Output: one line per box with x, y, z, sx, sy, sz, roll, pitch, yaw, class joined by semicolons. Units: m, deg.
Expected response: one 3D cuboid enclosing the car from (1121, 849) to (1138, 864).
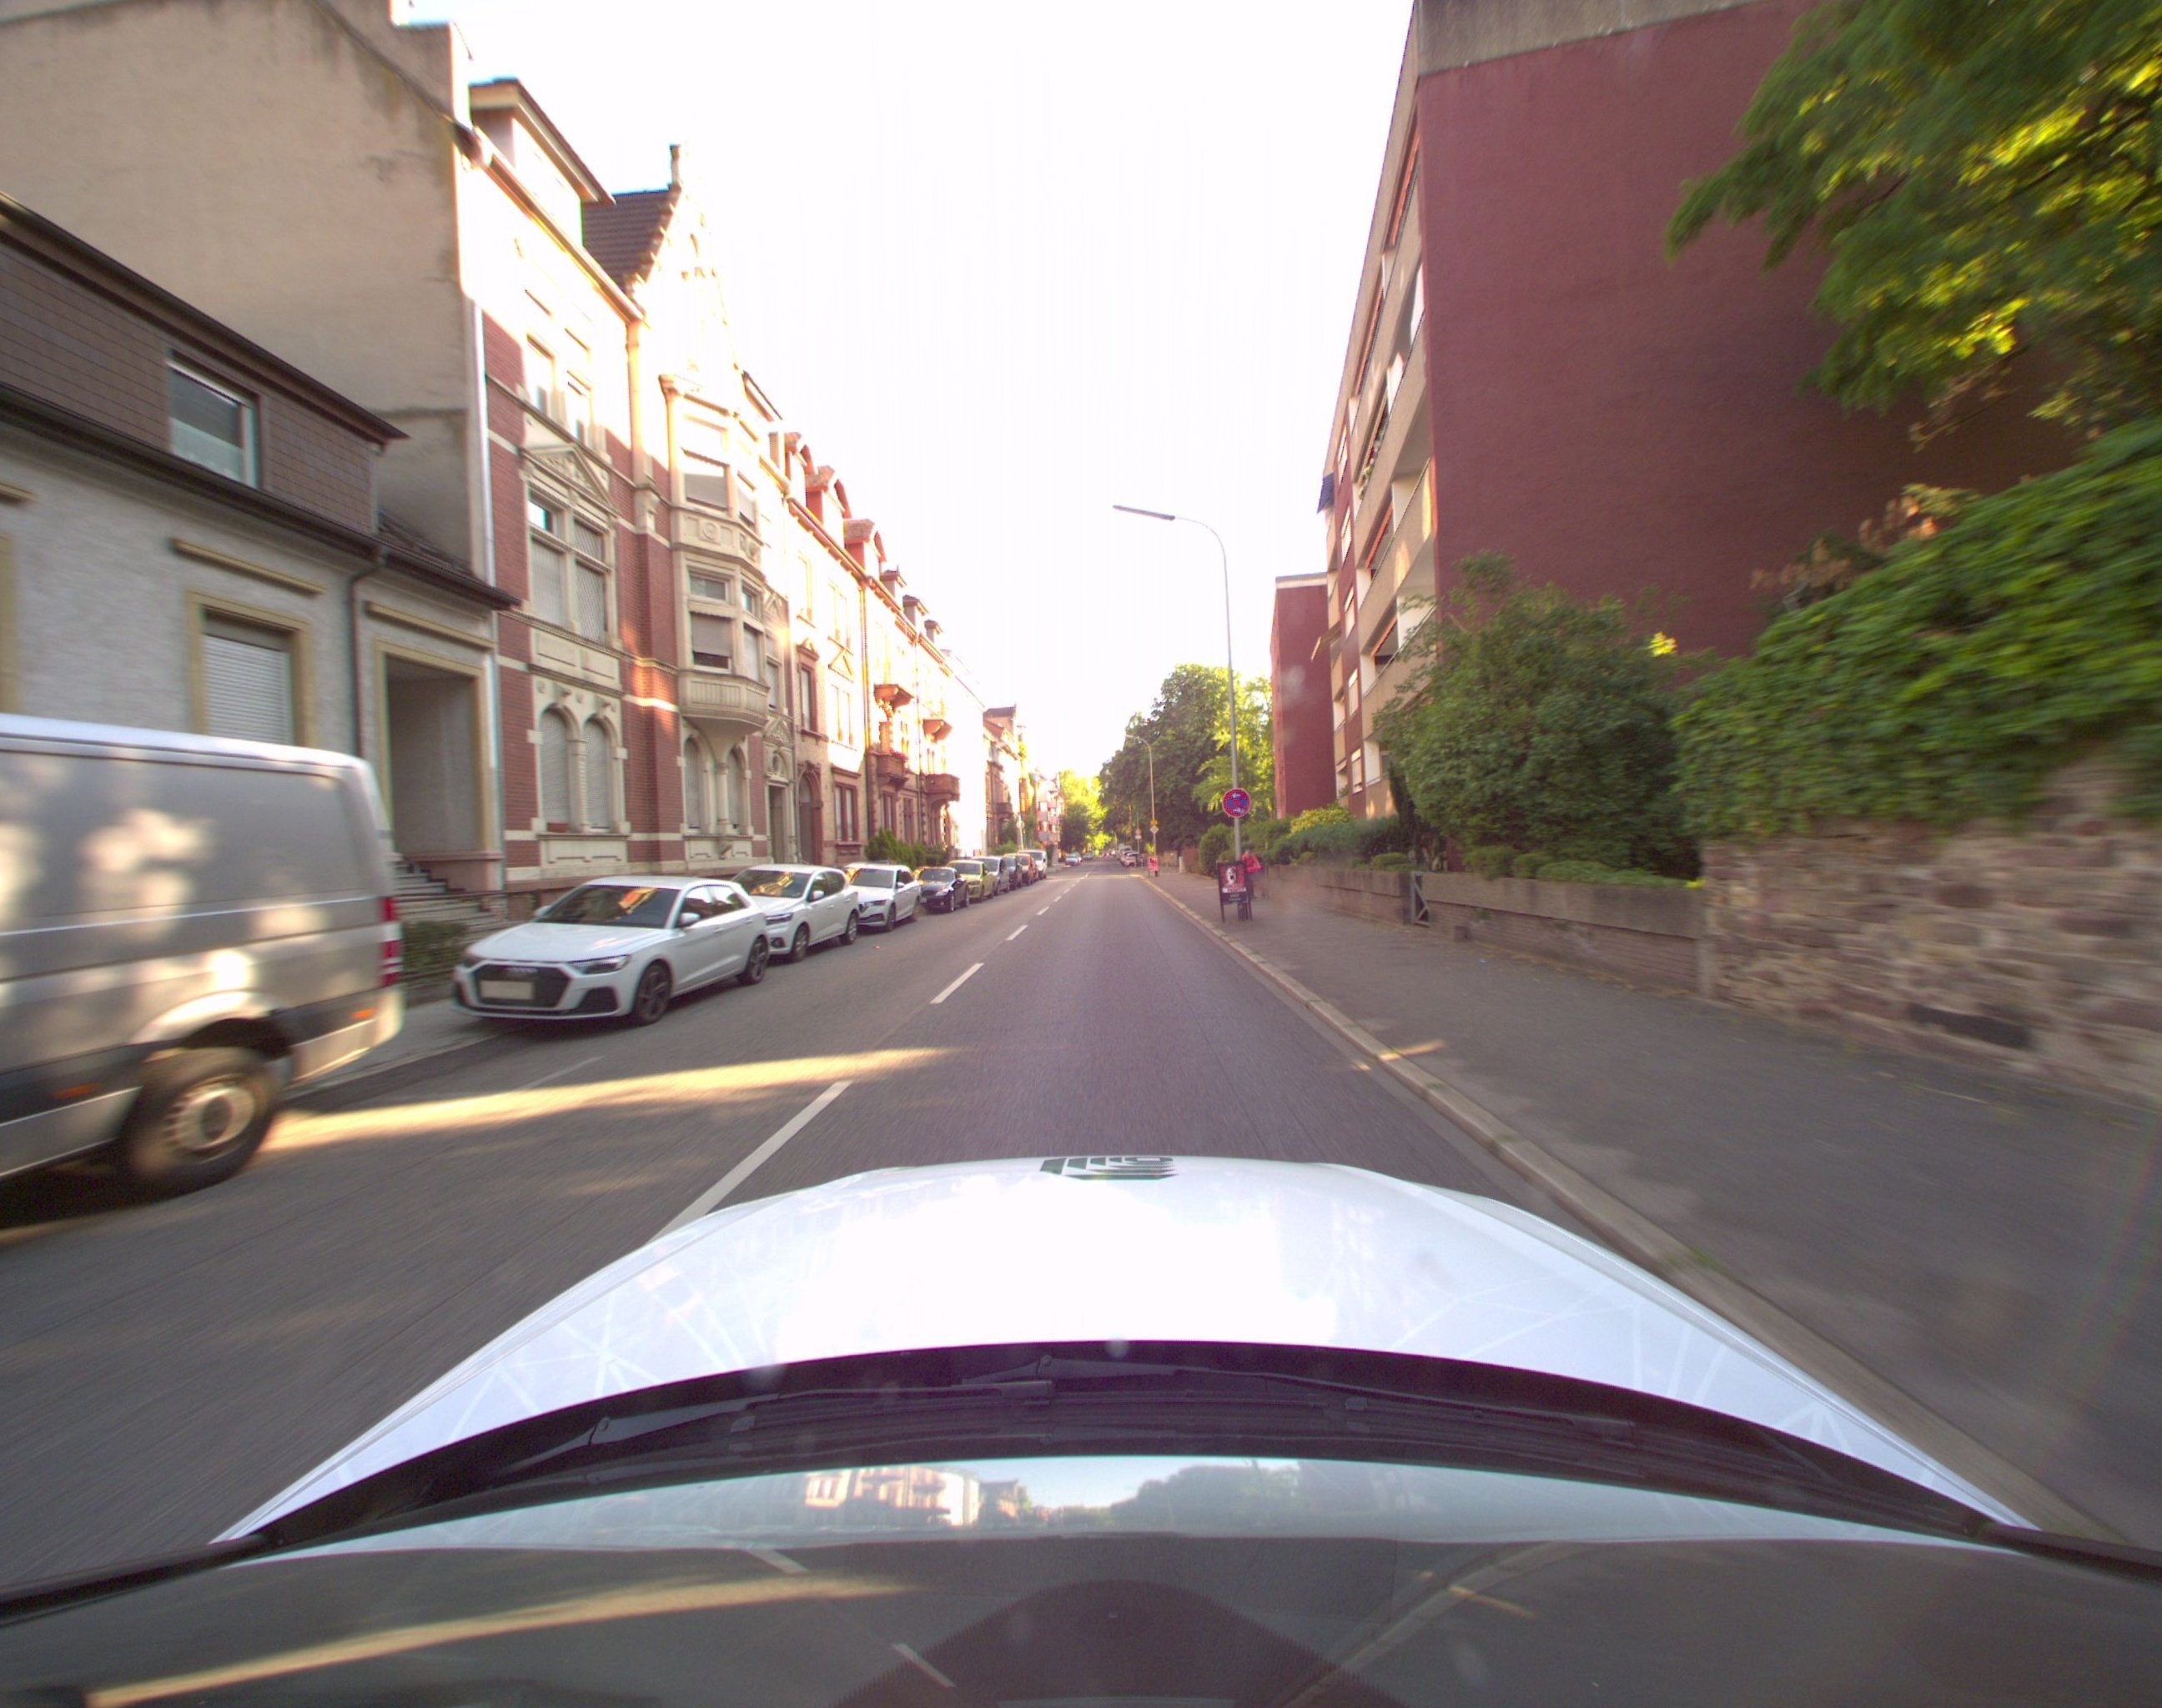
5.981;0.302;100.473;1.985;1.737;4.004;-3;1;3;car

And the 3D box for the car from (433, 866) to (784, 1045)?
-4.988;0.954;9.302;1.696;1.503;3.824;-1;0;1;car

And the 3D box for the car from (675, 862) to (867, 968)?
-5.250;0.953;14.424;1.696;1.503;4.023;-1;0;2;car

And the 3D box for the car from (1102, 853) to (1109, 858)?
7.589;0.452;248.896;1.986;1.491;4.473;-3;1;2;car

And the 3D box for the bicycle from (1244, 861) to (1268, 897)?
4.906;0.703;22.831;0.564;0.970;0.492;-1;1;0;bicycle

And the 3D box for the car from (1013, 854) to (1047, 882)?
-3.097;0.816;50.041;1.696;1.619;4.118;-1;0;1;car

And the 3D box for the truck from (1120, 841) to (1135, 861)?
7.088;-0.457;125.434;1.986;2.896;4.472;-3;1;2;truck

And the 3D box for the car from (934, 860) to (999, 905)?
-4.101;0.995;29.737;1.696;1.503;4.072;-1;-1;1;car

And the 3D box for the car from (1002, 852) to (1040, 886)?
-3.220;0.793;44.567;1.696;1.738;3.857;-1;0;1;car

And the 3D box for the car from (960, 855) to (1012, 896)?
-3.982;0.860;34.735;1.696;1.584;3.635;-1;0;1;car

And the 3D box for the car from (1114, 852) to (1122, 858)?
10.282;0.231;227.557;1.988;1.491;4.468;-3;1;-1;car

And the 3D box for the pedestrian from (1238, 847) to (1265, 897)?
4.899;0.498;23.415;0.596;1.403;0.668;-1;1;0;pedestrian

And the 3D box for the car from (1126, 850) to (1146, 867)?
5.682;0.422;84.273;1.985;1.517;4.004;-3;1;3;car

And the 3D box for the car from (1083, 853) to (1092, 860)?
1.457;0.557;183.369;1.986;1.491;4.473;-3;1;2;car

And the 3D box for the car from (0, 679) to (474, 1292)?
-5.399;0.548;2.679;2.060;2.460;6.018;-1;0;2;car

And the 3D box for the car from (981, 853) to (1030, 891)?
-3.628;0.830;39.825;1.695;1.707;4.444;-1;0;3;car

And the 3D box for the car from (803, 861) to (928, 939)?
-4.994;0.993;19.538;1.696;1.536;4.550;-1;0;1;car

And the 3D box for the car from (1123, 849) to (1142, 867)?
5.671;0.454;89.881;1.985;1.737;4.004;-3;1;3;car

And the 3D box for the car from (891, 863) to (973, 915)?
-4.416;0.996;24.662;1.696;1.366;3.860;-1;0;1;car

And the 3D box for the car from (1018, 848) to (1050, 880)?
-3.124;0.623;55.407;1.786;2.010;4.698;-1;0;1;car

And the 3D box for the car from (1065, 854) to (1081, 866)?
-1.118;0.815;116.774;1.986;1.491;4.473;-3;1;2;car
